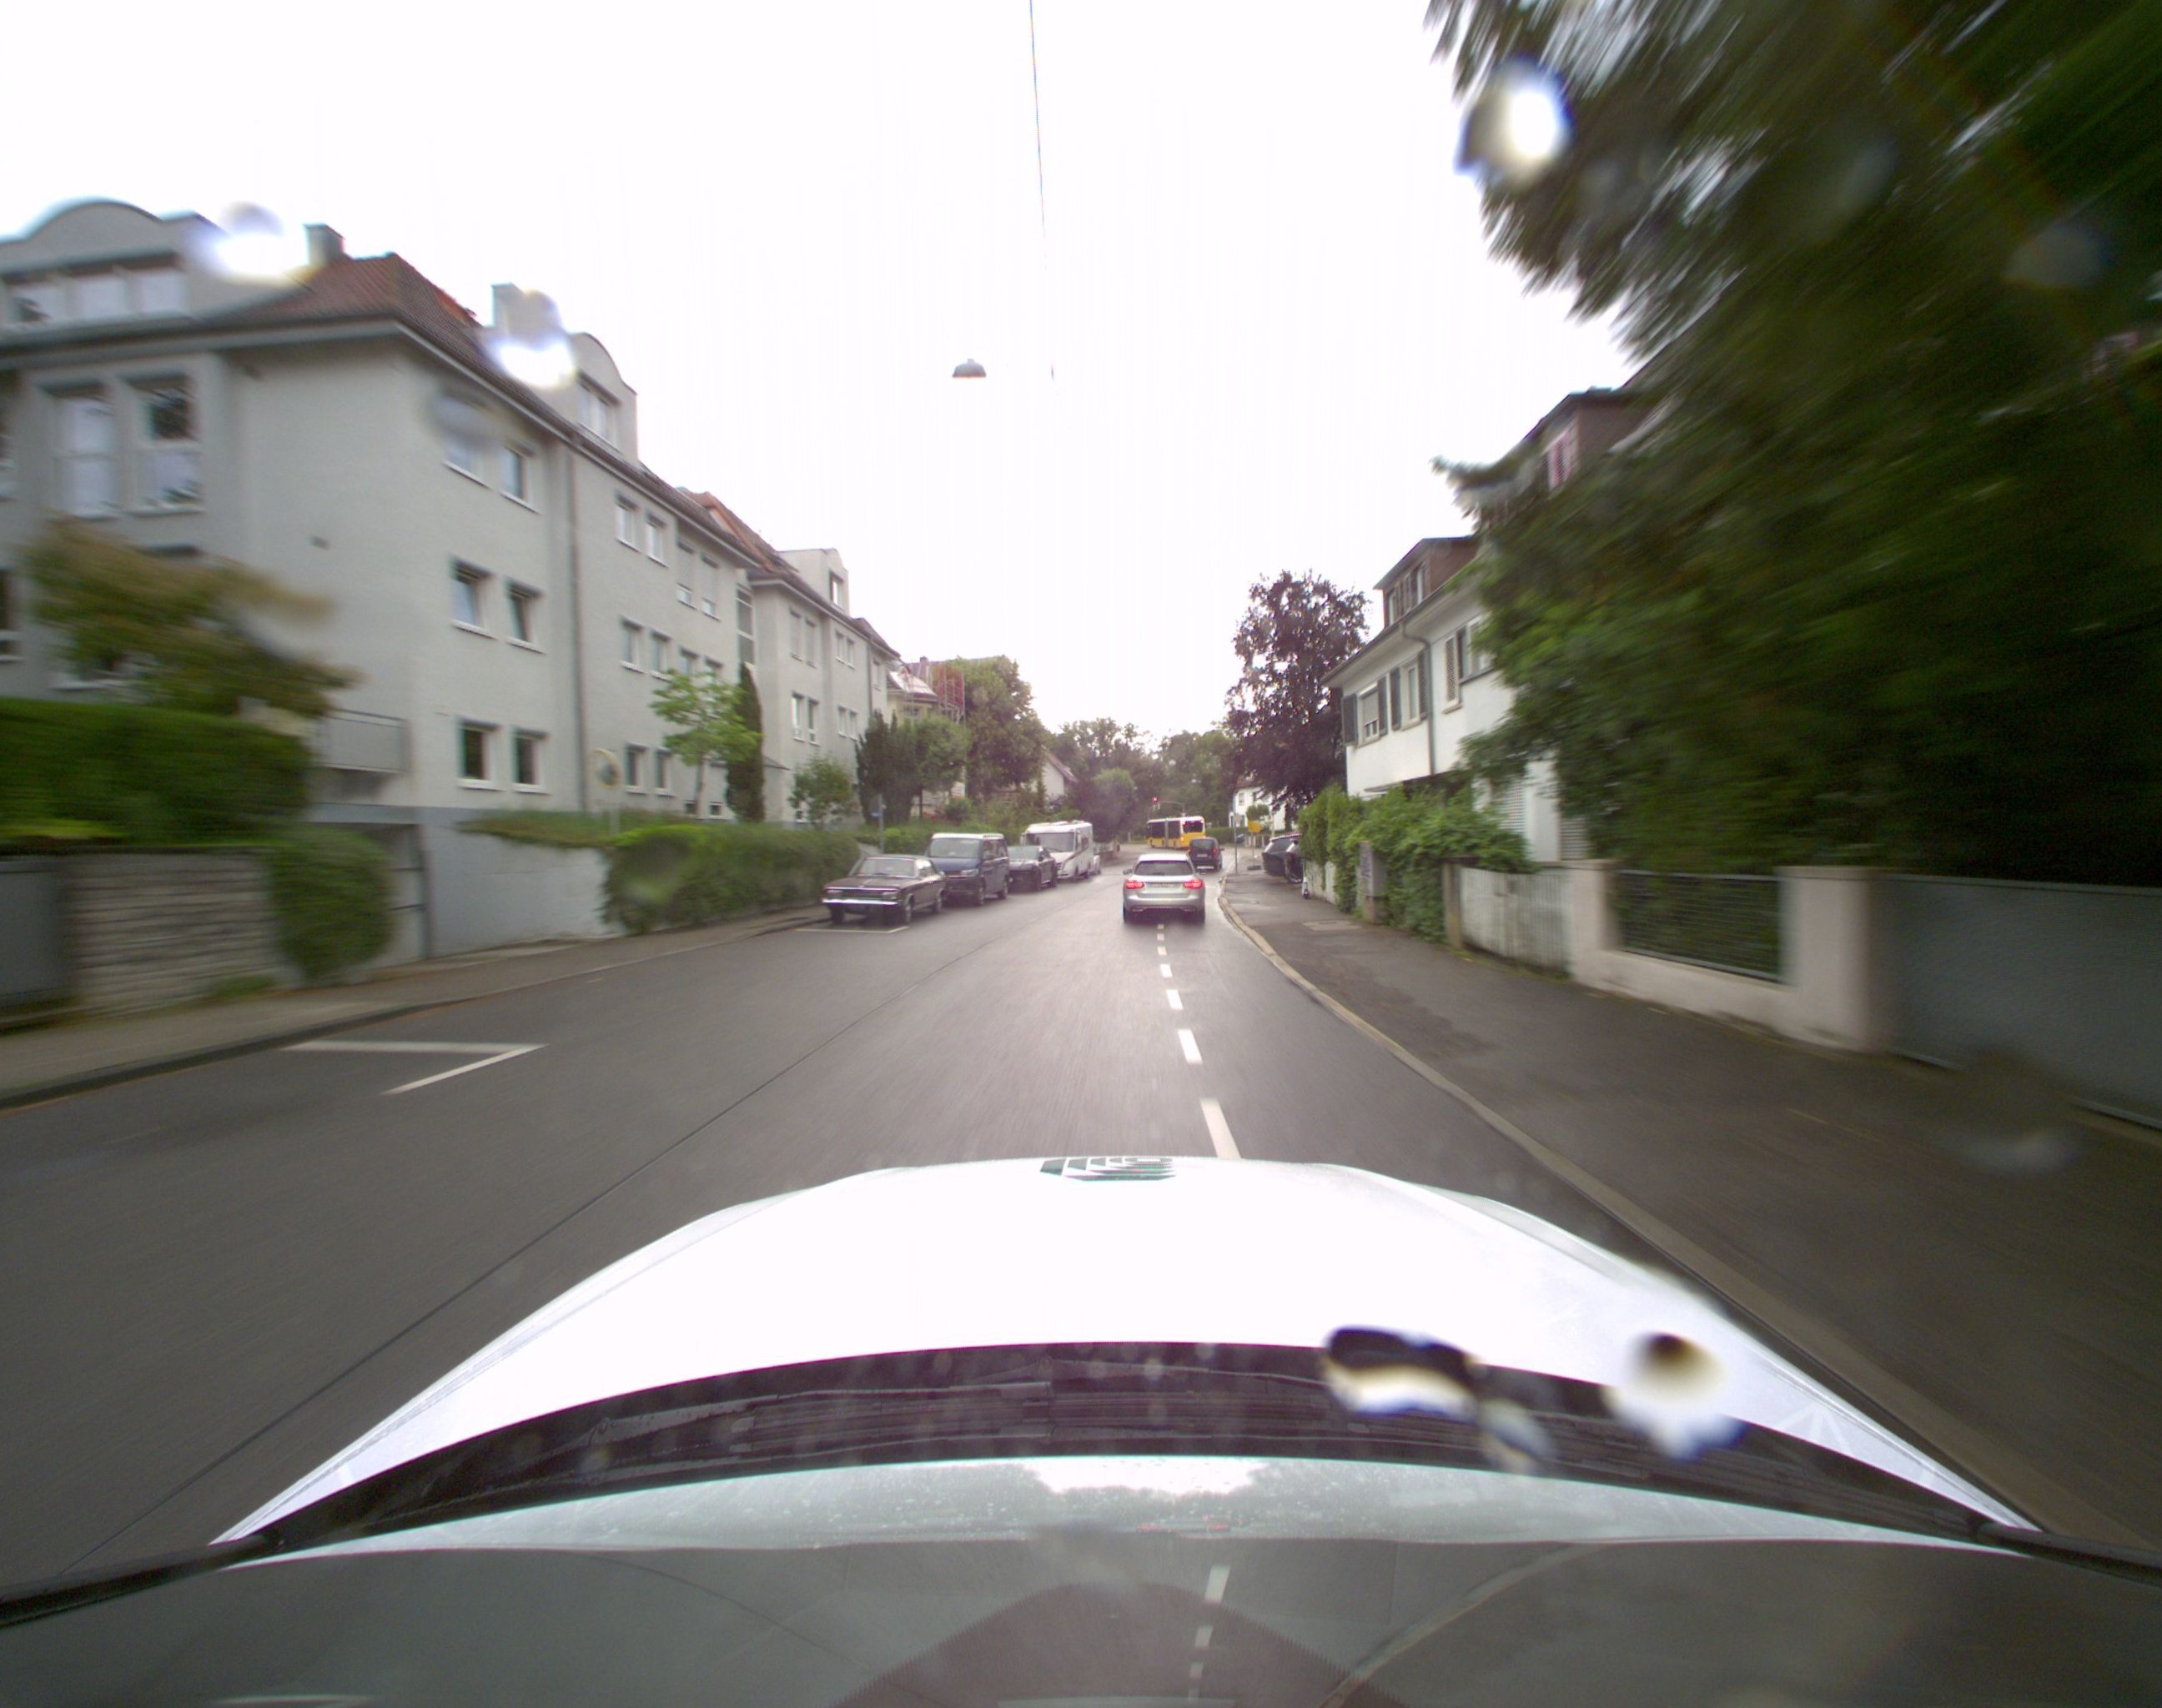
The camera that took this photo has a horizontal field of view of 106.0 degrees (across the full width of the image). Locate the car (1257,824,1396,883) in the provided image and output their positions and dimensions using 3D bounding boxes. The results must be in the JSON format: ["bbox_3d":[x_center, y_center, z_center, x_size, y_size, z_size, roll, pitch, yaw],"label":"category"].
[{"bbox_3d":[9.162,-0.035,30.753,4.638,1.874,2.004,-4,0,6],"label":"car"}]

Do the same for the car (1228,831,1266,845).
[{"bbox_3d":[19.698,-1.919,96.718,3.985,1.530,1.754,-1,3,-9],"label":"car"}]

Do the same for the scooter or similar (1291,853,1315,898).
[{"bbox_3d":[6.225,0.582,22.888,0.453,1.200,1.871,0,0,9],"label":"scooter or similar"}]

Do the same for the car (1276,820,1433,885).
[{"bbox_3d":[9.136,-0.062,27.552,4.638,1.812,2.004,-4,0,6],"label":"car"}]

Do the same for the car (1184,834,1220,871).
[{"bbox_3d":[6.649,-0.088,44.800,1.832,1.903,4.010,0,0,8],"label":"car"}]

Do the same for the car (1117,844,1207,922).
[{"bbox_3d":[1.821,0.570,18.541,1.807,1.556,4.006,0,1,5],"label":"car"}]

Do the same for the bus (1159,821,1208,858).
[{"bbox_3d":[10.806,-1.678,86.658,2.925,3.650,10.149,-1,3,-6],"label":"bus"}]

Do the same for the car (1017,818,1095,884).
[{"bbox_3d":[-1.005,-0.255,37.710,2.376,2.771,6.550,0,2,10],"label":"car"}]

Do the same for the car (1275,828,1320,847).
[{"bbox_3d":[21.342,-1.678,80.452,3.974,1.793,1.759,0,3,0],"label":"car"}]

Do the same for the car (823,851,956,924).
[{"bbox_3d":[-4.179,0.660,18.537,1.636,1.417,4.618,0,1,4],"label":"car"}]

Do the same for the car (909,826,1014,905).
[{"bbox_3d":[-3.349,0.289,23.885,1.820,2.056,5.019,0,0,7],"label":"car"}]

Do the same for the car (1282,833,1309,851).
[{"bbox_3d":[18.548,-1.092,70.481,1.205,1.450,3.014,-1,3,-9],"label":"car"}]

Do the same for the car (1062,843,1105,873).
[{"bbox_3d":[0.166,0.192,43.275,1.702,1.447,3.265,0,3,10],"label":"car"}]

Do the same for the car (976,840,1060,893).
[{"bbox_3d":[-2.212,0.385,30.212,1.981,1.688,4.691,0,3,10],"label":"car"}]

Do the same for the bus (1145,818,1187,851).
[{"bbox_3d":[9.842,-2.412,95.583,2.925,3.650,10.283,-1,3,-6],"label":"bus"}]
